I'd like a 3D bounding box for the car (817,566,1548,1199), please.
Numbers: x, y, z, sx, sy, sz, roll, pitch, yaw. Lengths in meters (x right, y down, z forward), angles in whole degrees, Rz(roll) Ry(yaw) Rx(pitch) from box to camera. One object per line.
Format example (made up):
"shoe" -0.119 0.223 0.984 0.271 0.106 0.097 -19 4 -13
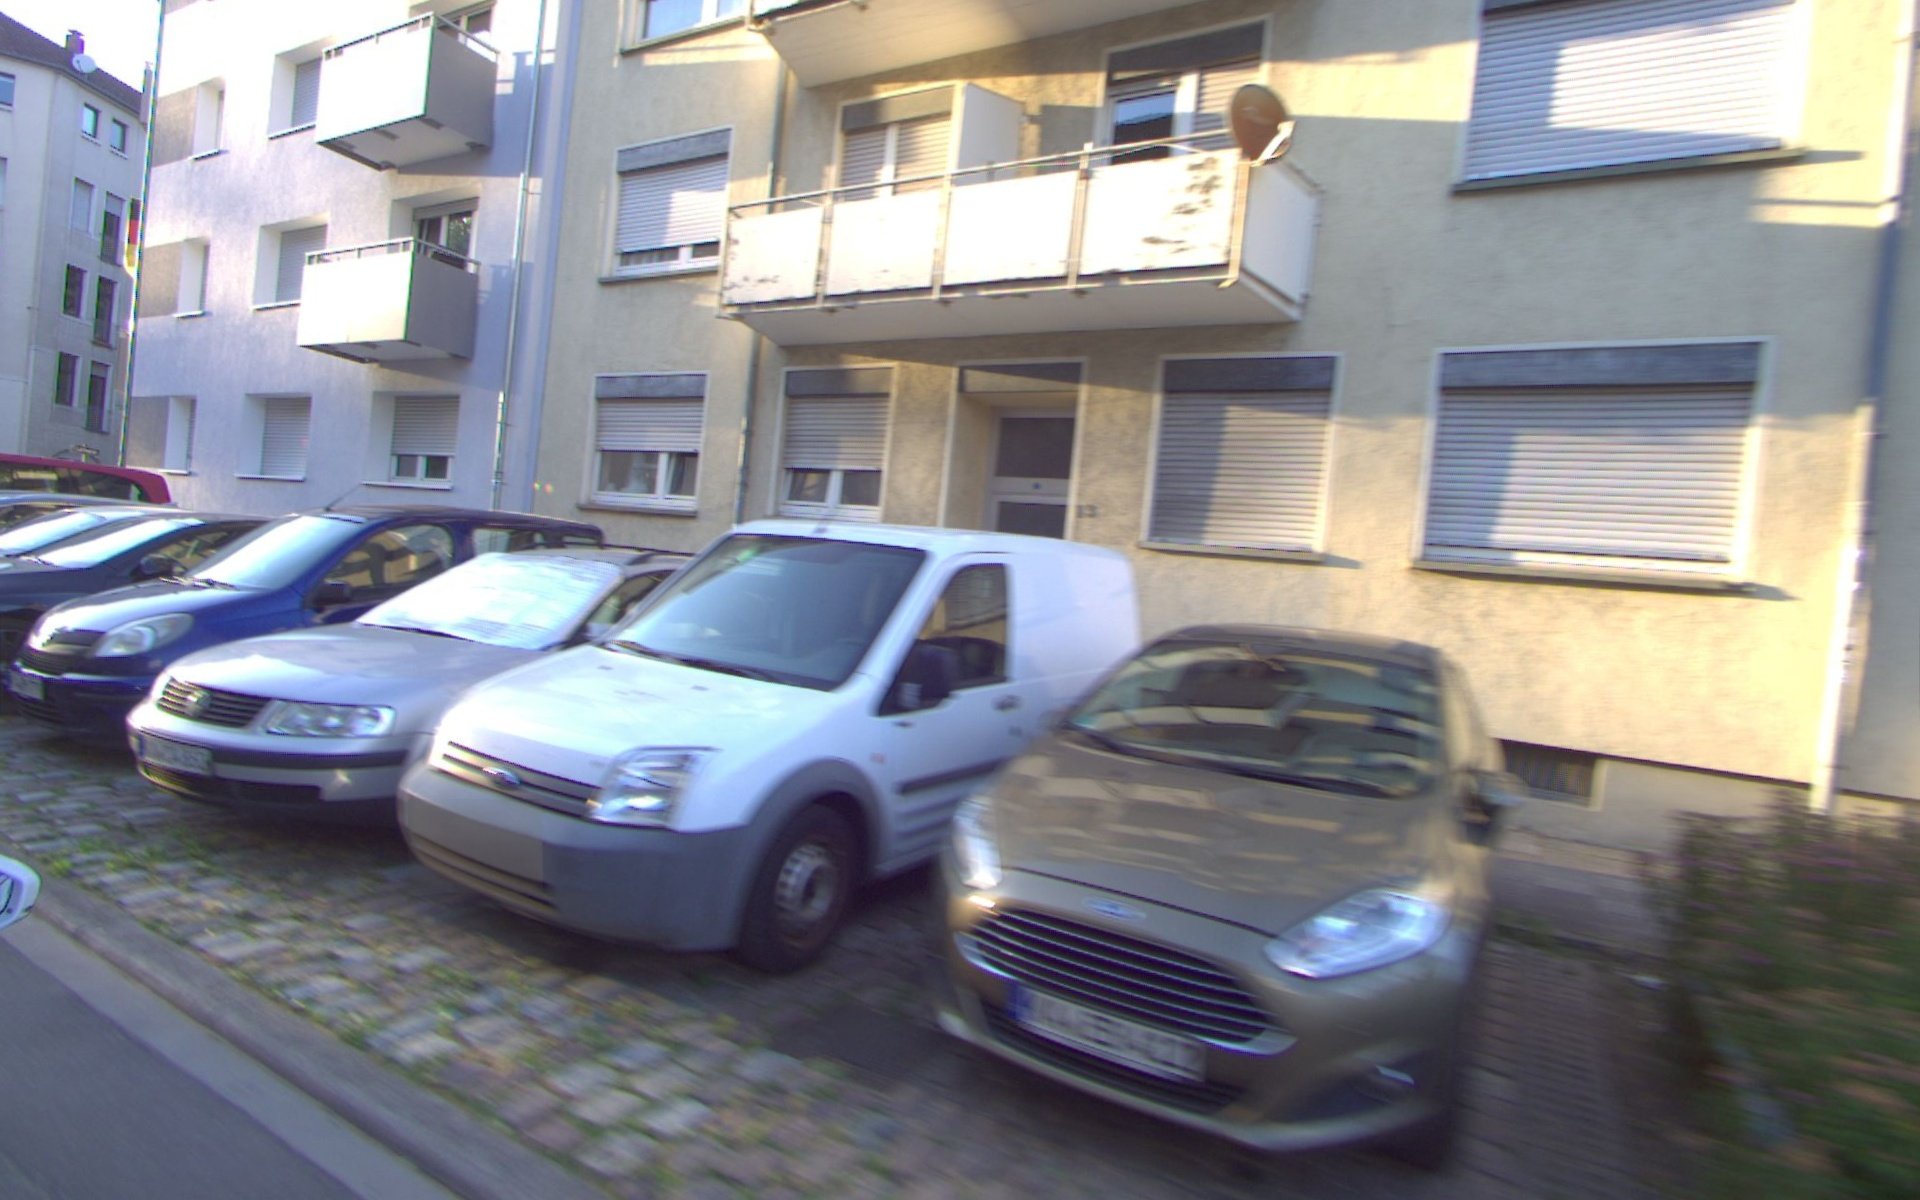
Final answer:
"car" 1.365 0.860 4.200 1.712 1.511 3.877 7 0 31

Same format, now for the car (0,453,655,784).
"car" -4.308 0.103 7.304 1.627 1.718 3.792 6 2 31

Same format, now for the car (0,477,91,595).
"car" -15.121 -1.051 13.895 1.787 1.659 4.327 6 1 30

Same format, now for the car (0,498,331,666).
"car" -8.547 -0.195 9.679 1.608 1.434 3.878 6 1 29

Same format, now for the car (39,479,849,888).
"car" -2.607 0.383 6.054 1.677 1.541 3.959 7 1 31

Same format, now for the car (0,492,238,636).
"car" -10.675 -0.444 11.034 1.609 1.490 4.148 6 1 30

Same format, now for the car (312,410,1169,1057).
"car" -0.547 0.449 5.190 1.712 1.883 4.285 6 0 31

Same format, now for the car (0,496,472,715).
"car" -6.530 0.018 8.243 1.627 1.468 4.310 6 1 31

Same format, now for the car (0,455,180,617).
"car" -12.812 -0.900 12.284 2.024 1.934 4.725 6 1 30
